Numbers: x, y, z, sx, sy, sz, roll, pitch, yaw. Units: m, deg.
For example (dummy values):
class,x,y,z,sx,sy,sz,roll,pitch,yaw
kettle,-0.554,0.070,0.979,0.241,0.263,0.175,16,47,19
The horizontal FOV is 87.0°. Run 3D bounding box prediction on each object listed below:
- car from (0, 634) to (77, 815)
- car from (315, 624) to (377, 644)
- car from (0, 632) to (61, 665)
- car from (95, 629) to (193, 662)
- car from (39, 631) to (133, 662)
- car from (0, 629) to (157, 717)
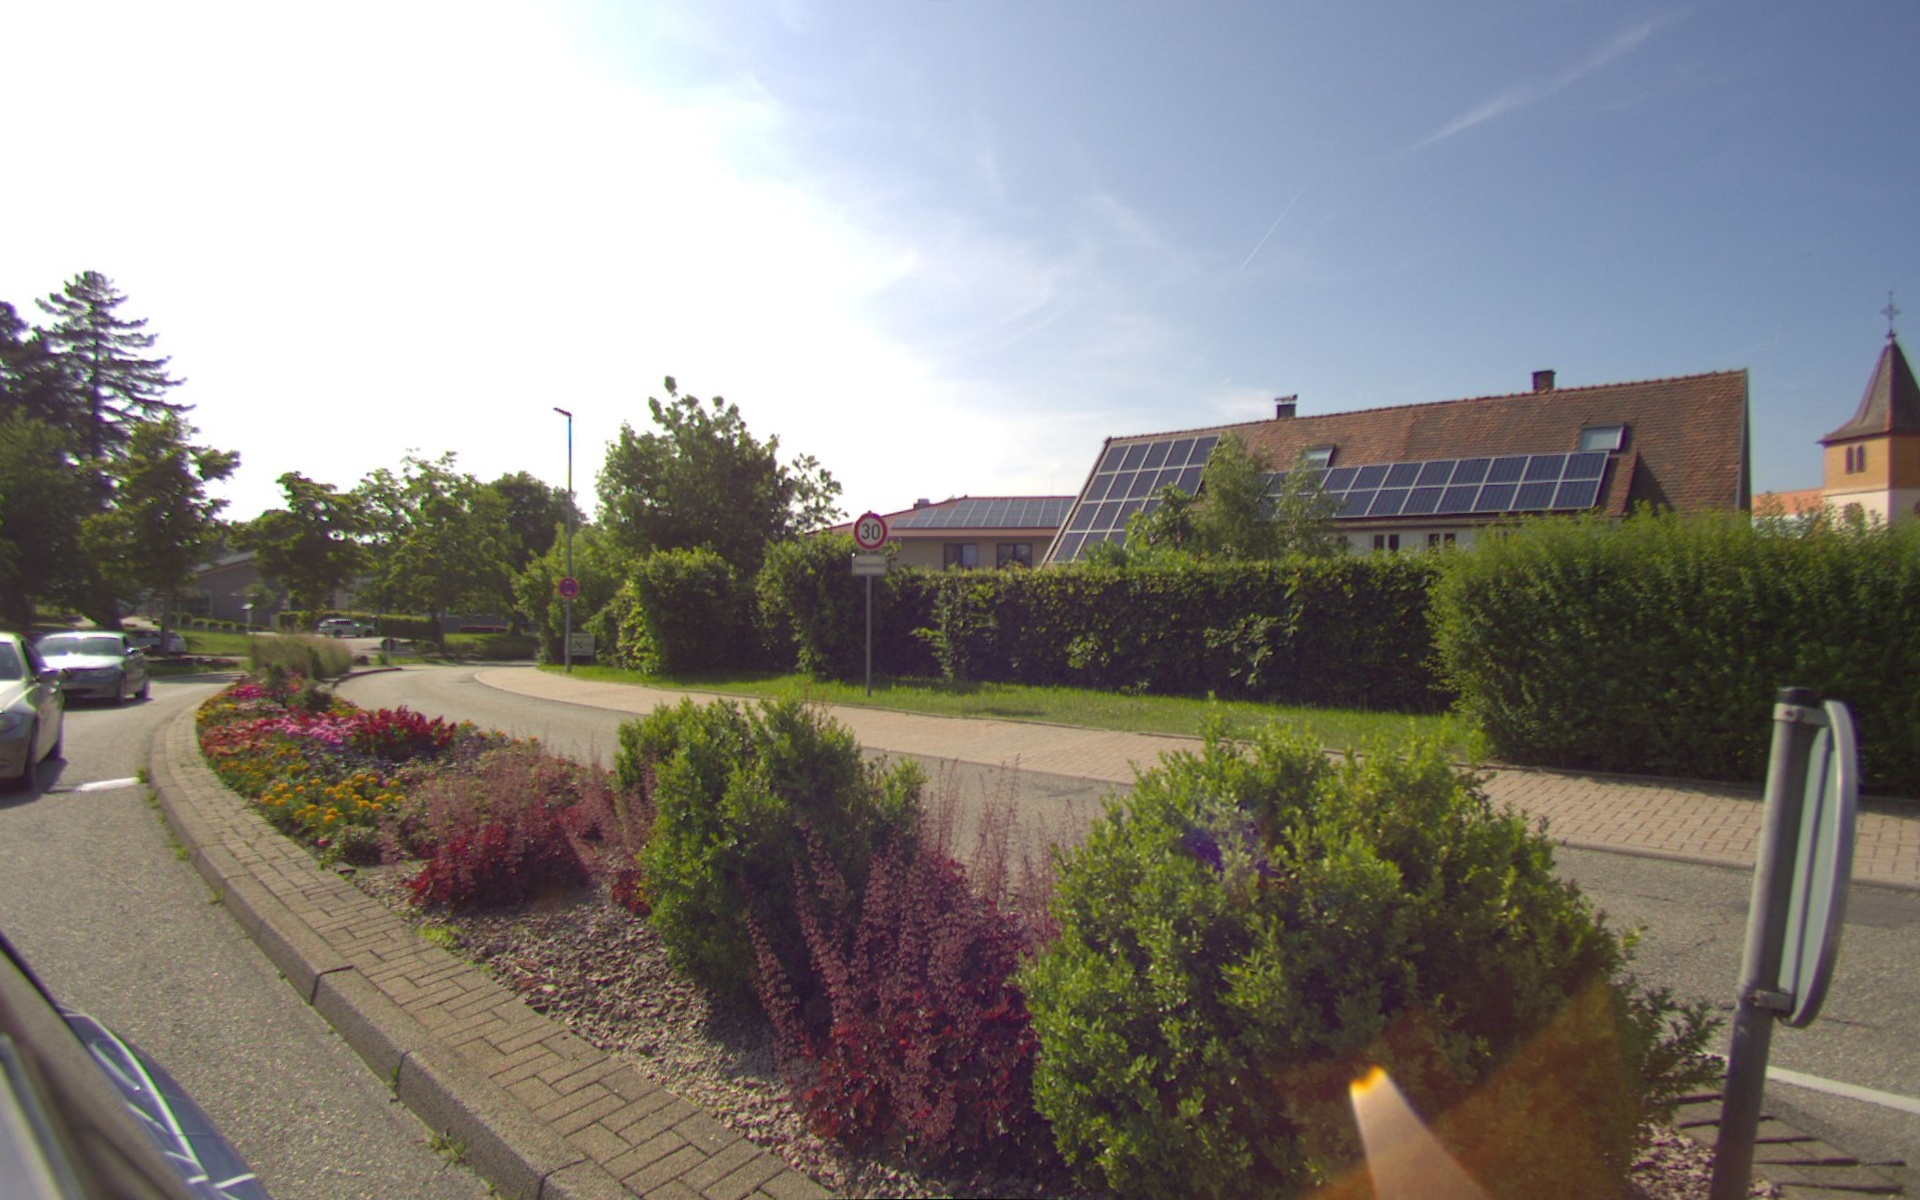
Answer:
class,x,y,z,sx,sy,sz,roll,pitch,yaw
car,-9.487,1.001,9.154,1.810,1.378,4.592,3,-3,-36
car,-54.107,2.991,89.227,1.787,1.526,4.322,1,-4,31
car,-46.509,2.356,49.622,3.265,1.414,1.714,3,-2,-1
car,-46.274,2.584,57.448,3.948,1.630,1.998,2,-3,3
car,-45.864,2.443,53.141,3.493,1.438,1.684,2,-3,3
car,-17.444,1.380,19.926,1.872,1.519,4.012,5,-4,-30
